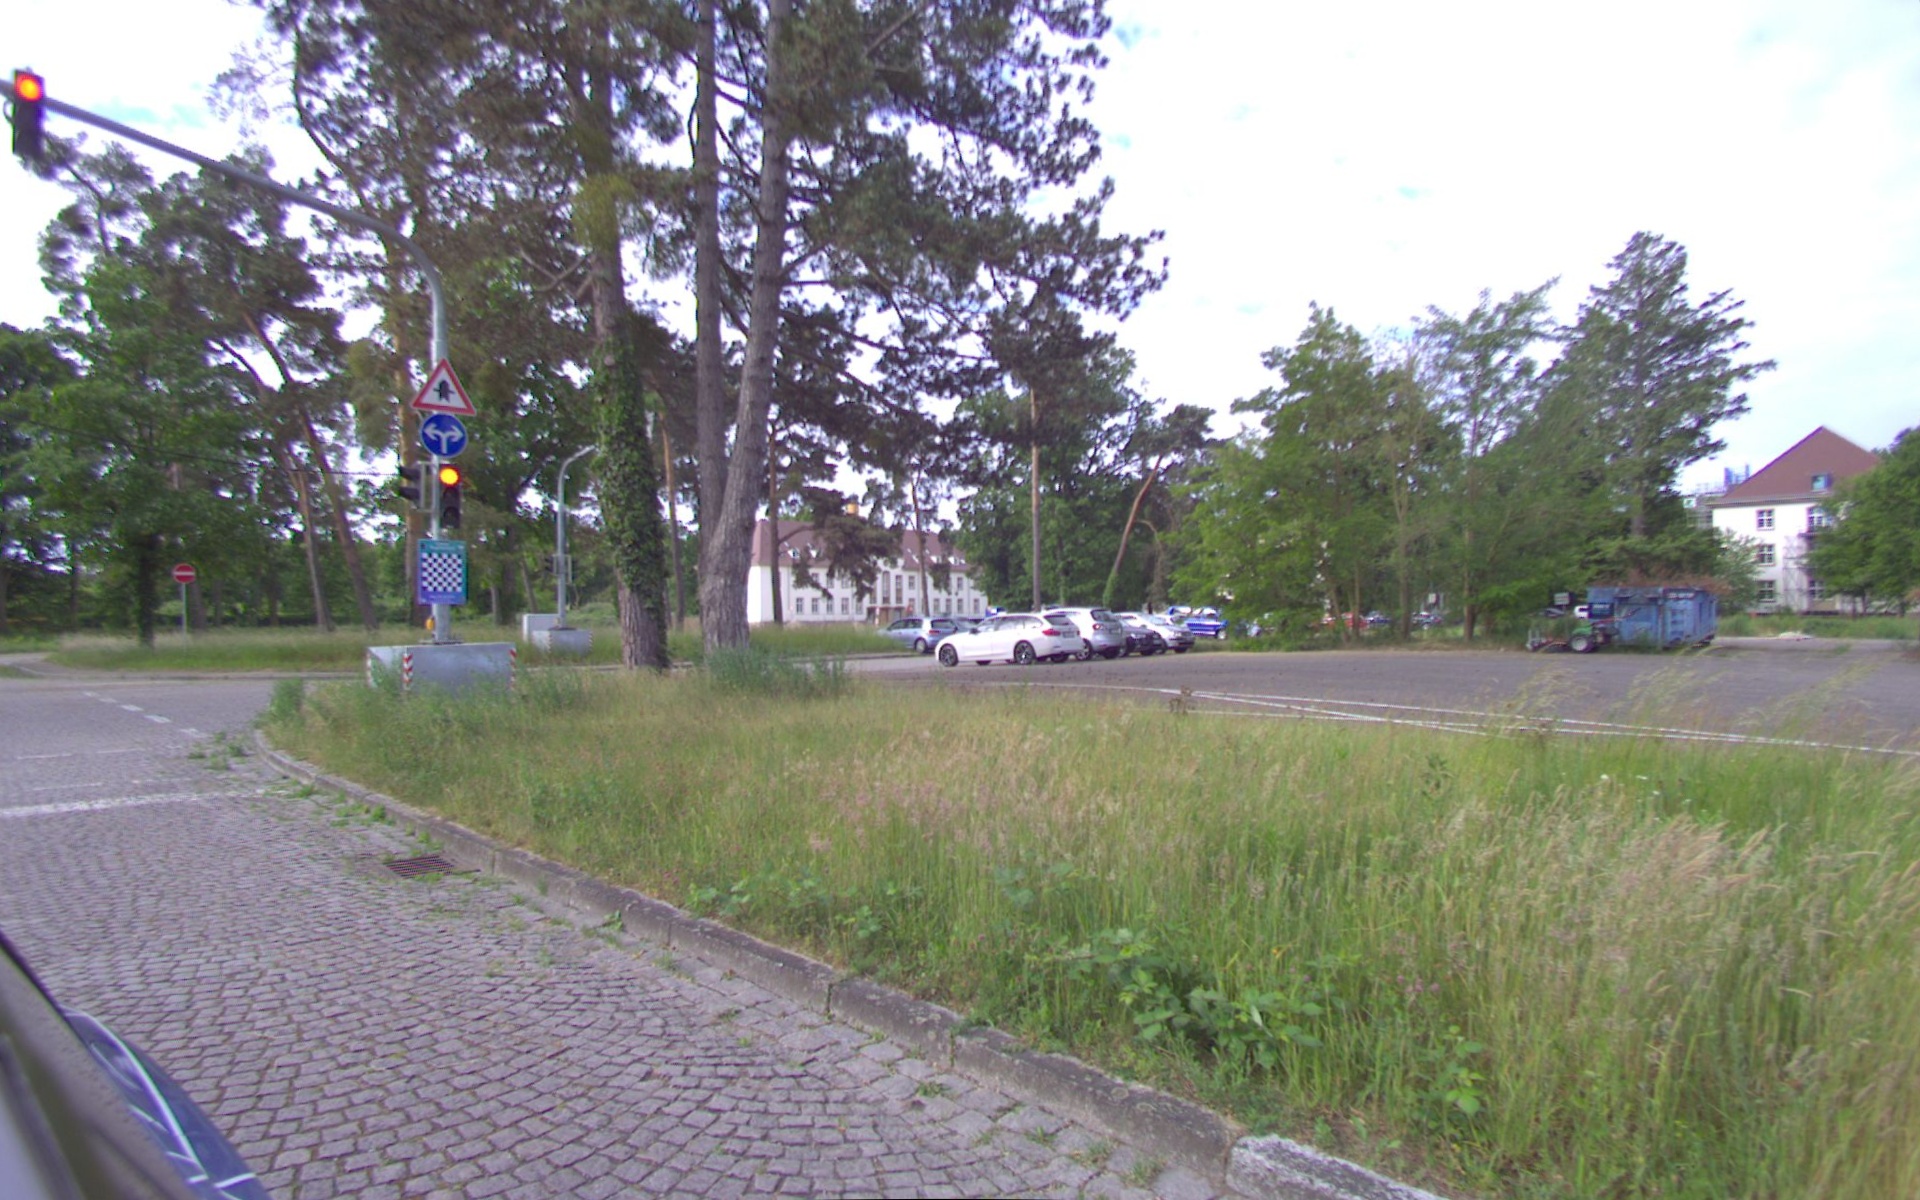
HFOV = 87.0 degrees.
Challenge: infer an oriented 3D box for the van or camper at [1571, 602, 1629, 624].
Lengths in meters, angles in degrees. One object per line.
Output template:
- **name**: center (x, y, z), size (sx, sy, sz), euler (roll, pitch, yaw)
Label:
- **van or camper**: center (73.026, 1.515, 115.464), size (5.250, 2.482, 2.178), euler (-2, -1, 42)

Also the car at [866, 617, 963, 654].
- **car**: center (-1.910, 1.433, 41.596), size (1.770, 1.429, 4.002), euler (0, -1, -45)

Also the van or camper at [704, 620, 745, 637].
- **van or camper**: center (-32.761, 4.006, 140.765), size (6.126, 2.324, 2.431), euler (-2, -1, 42)

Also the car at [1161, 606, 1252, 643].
- **car**: center (14.219, 1.389, 58.503), size (1.969, 2.029, 4.851), euler (0, -1, -41)

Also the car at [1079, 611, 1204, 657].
- **car**: center (6.229, 1.153, 34.949), size (3.984, 1.467, 1.658), euler (-1, -1, 40)

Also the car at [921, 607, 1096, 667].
- **car**: center (1.304, 1.071, 28.775), size (4.820, 1.450, 1.887), euler (-5, -4, 42)

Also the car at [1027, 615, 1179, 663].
- **car**: center (4.578, 1.248, 32.879), size (4.633, 1.433, 1.859), euler (-2, -1, 42)

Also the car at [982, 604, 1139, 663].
- **car**: center (2.989, 1.042, 30.721), size (4.484, 1.602, 1.822), euler (-4, -3, 40)

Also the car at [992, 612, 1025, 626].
- **car**: center (6.958, 2.683, 143.807), size (2.167, 2.029, 4.767), euler (-2, -1, 42)

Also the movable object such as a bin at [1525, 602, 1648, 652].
- **movable object such as a bin**: center (16.393, 0.707, 26.518), size (2.540, 1.221, 1.154), euler (-2, -1, 44)

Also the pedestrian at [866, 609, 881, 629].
- **pedestrian**: center (-9.112, 2.012, 107.125), size (1.185, 2.194, 1.040), euler (-2, -1, 44)

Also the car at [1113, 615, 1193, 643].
- **car**: center (10.436, 1.579, 54.833), size (3.938, 1.460, 1.770), euler (-2, -1, 45)
